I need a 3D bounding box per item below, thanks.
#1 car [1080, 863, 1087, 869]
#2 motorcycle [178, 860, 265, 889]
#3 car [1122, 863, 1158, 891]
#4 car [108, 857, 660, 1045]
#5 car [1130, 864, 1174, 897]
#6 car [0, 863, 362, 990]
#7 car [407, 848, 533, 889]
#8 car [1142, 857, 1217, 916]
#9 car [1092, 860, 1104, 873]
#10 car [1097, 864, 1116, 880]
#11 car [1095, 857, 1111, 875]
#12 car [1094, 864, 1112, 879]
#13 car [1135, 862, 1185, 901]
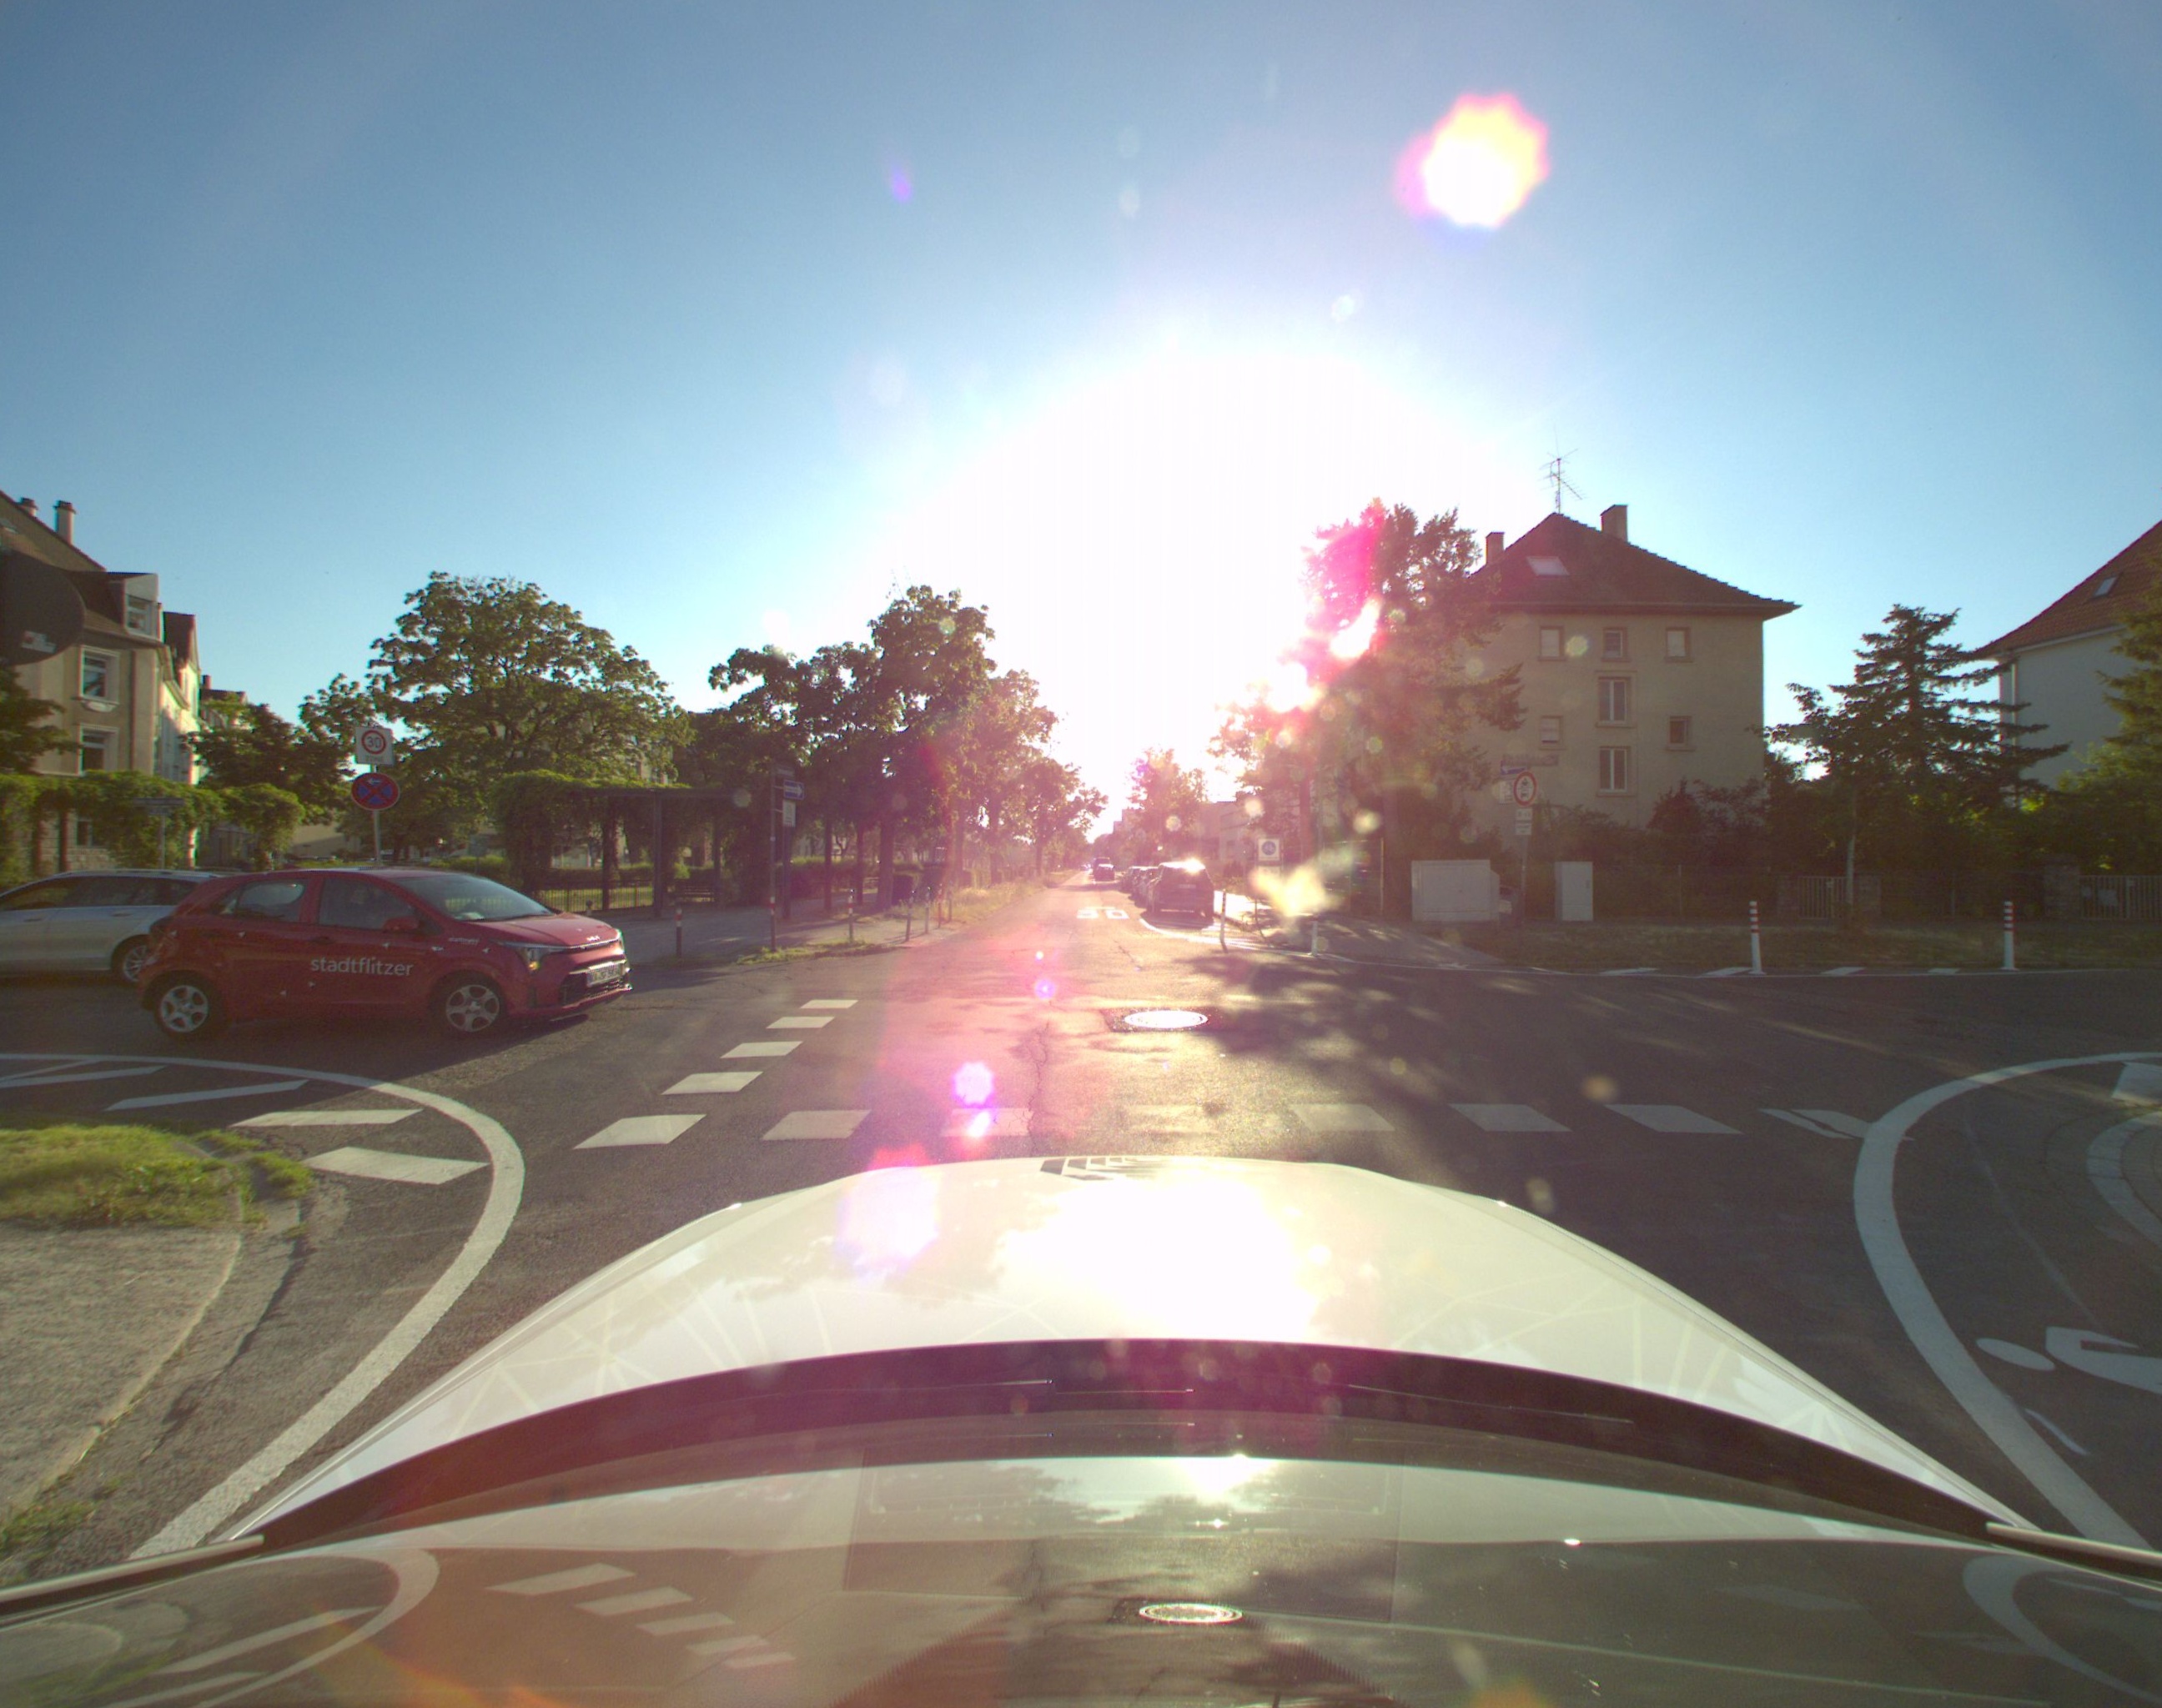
[{"bbox_3d":[0.708,3.498,231.007,1.860,1.618,3.998,0,-1,-1],"label":"car"},{"bbox_3d":[-45.098,1.064,42.770,3.222,1.487,0.850,-1,-1,-12],"label":"motorcycle"},{"bbox_3d":[3.498,1.350,48.658,1.760,1.526,3.770,-1,-1,-2],"label":"car"},{"bbox_3d":[-6.370,0.834,7.780,3.747,1.526,1.771,-1,-1,1],"label":"car"},{"bbox_3d":[3.392,1.228,39.453,1.725,1.518,3.758,0,-1,-1],"label":"car"},{"bbox_3d":[-12.337,0.873,10.587,4.194,1.473,1.820,-1,-1,-4],"label":"car"},{"bbox_3d":[-42.193,0.988,56.523,6.707,2.745,2.296,0,-1,-29],"label":"car"},{"bbox_3d":[3.014,0.978,25.684,1.811,1.641,4.216,3,-1,0],"label":"car"},{"bbox_3d":[2.886,2.188,140.386,1.987,2.124,4.000,0,-1,1],"label":"car"},{"bbox_3d":[2.596,1.833,83.475,1.752,1.518,3.757,0,-1,-2],"label":"car"},{"bbox_3d":[2.746,1.485,101.099,1.987,2.124,4.000,0,-1,1],"label":"car"},{"bbox_3d":[2.367,1.862,87.996,1.725,1.518,3.757,0,-1,-2],"label":"car"},{"bbox_3d":[3.300,1.141,34.482,1.759,1.526,3.772,-1,-1,0],"label":"car"}]
